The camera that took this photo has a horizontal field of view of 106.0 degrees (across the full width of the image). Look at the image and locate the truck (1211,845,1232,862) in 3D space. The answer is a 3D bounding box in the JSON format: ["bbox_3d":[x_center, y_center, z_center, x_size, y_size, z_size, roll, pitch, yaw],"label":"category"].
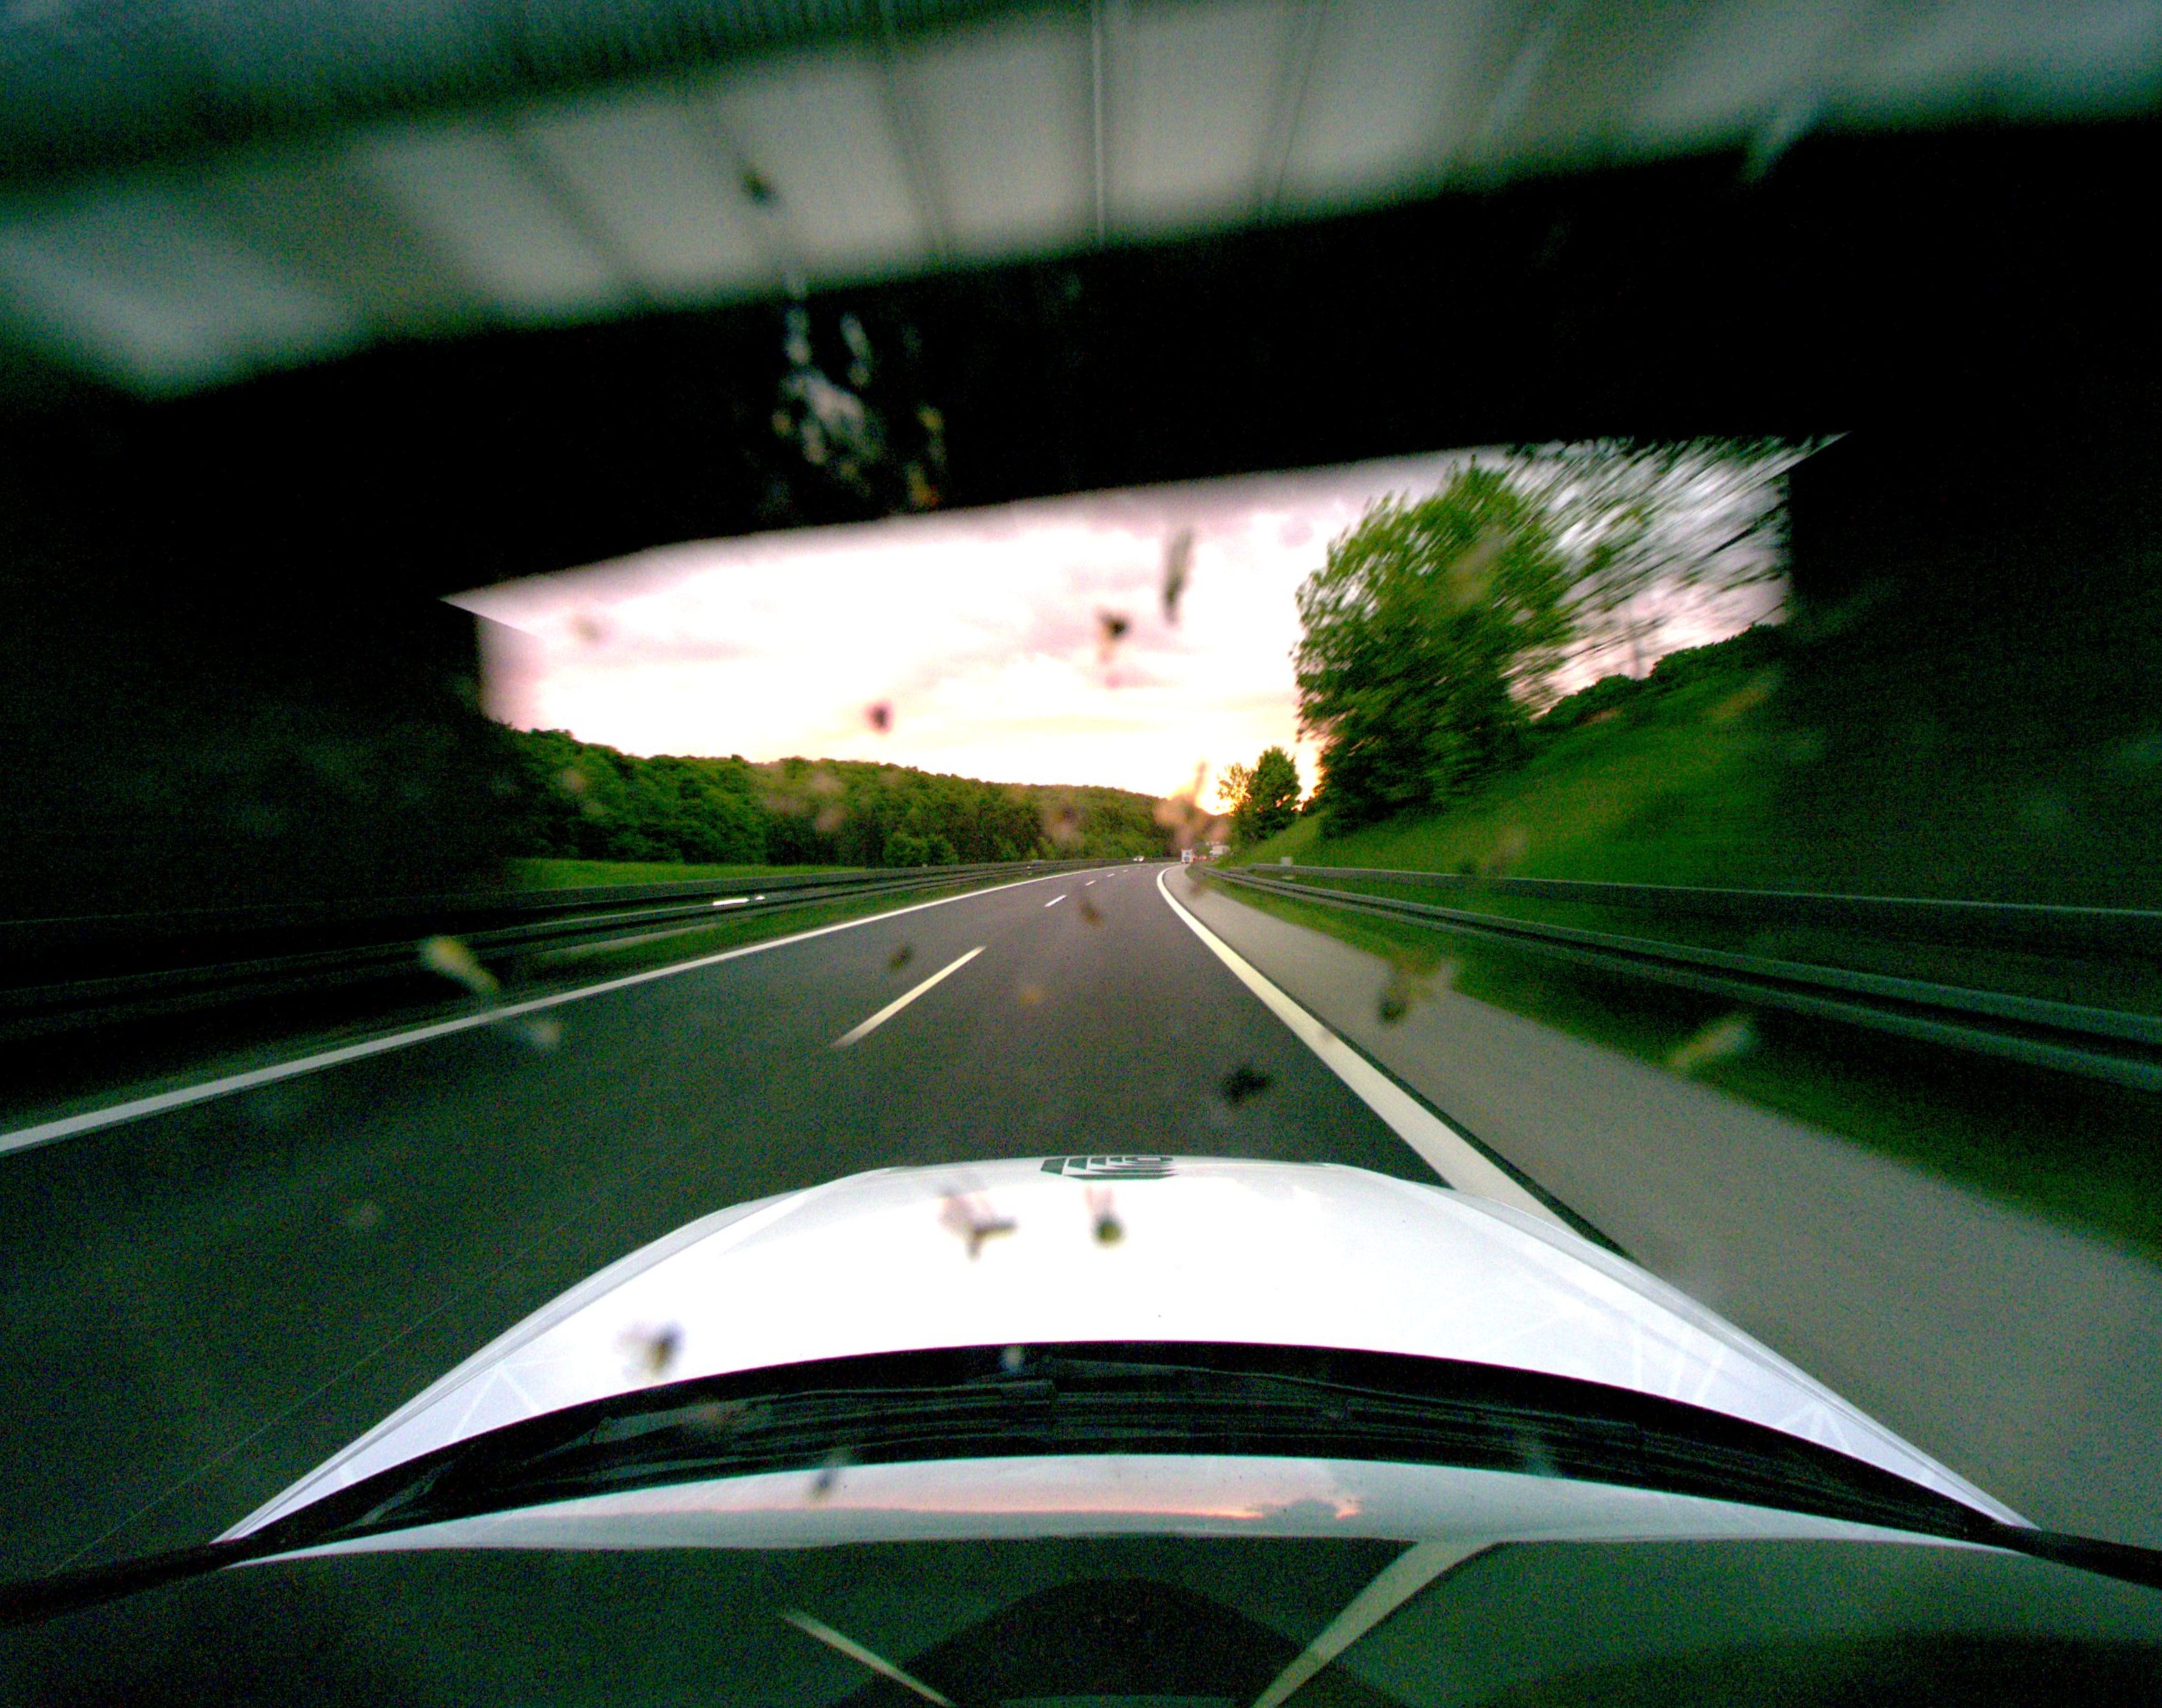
[{"bbox_3d":[37.529,-0.141,217.021,3.927,4.287,14.385,-2,0,16],"label":"truck"}]

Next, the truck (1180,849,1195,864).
[{"bbox_3d":[20.720,0.442,157.942,2.259,2.664,5.257,-3,1,14],"label":"truck"}]

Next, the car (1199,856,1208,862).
[{"bbox_3d":[32.314,1.238,214.308,1.979,1.517,4.015,-2,0,14],"label":"car"}]

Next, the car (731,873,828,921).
[{"bbox_3d":[-10.361,1.425,28.334,1.726,1.420,4.002,1,0,2],"label":"car"}]
